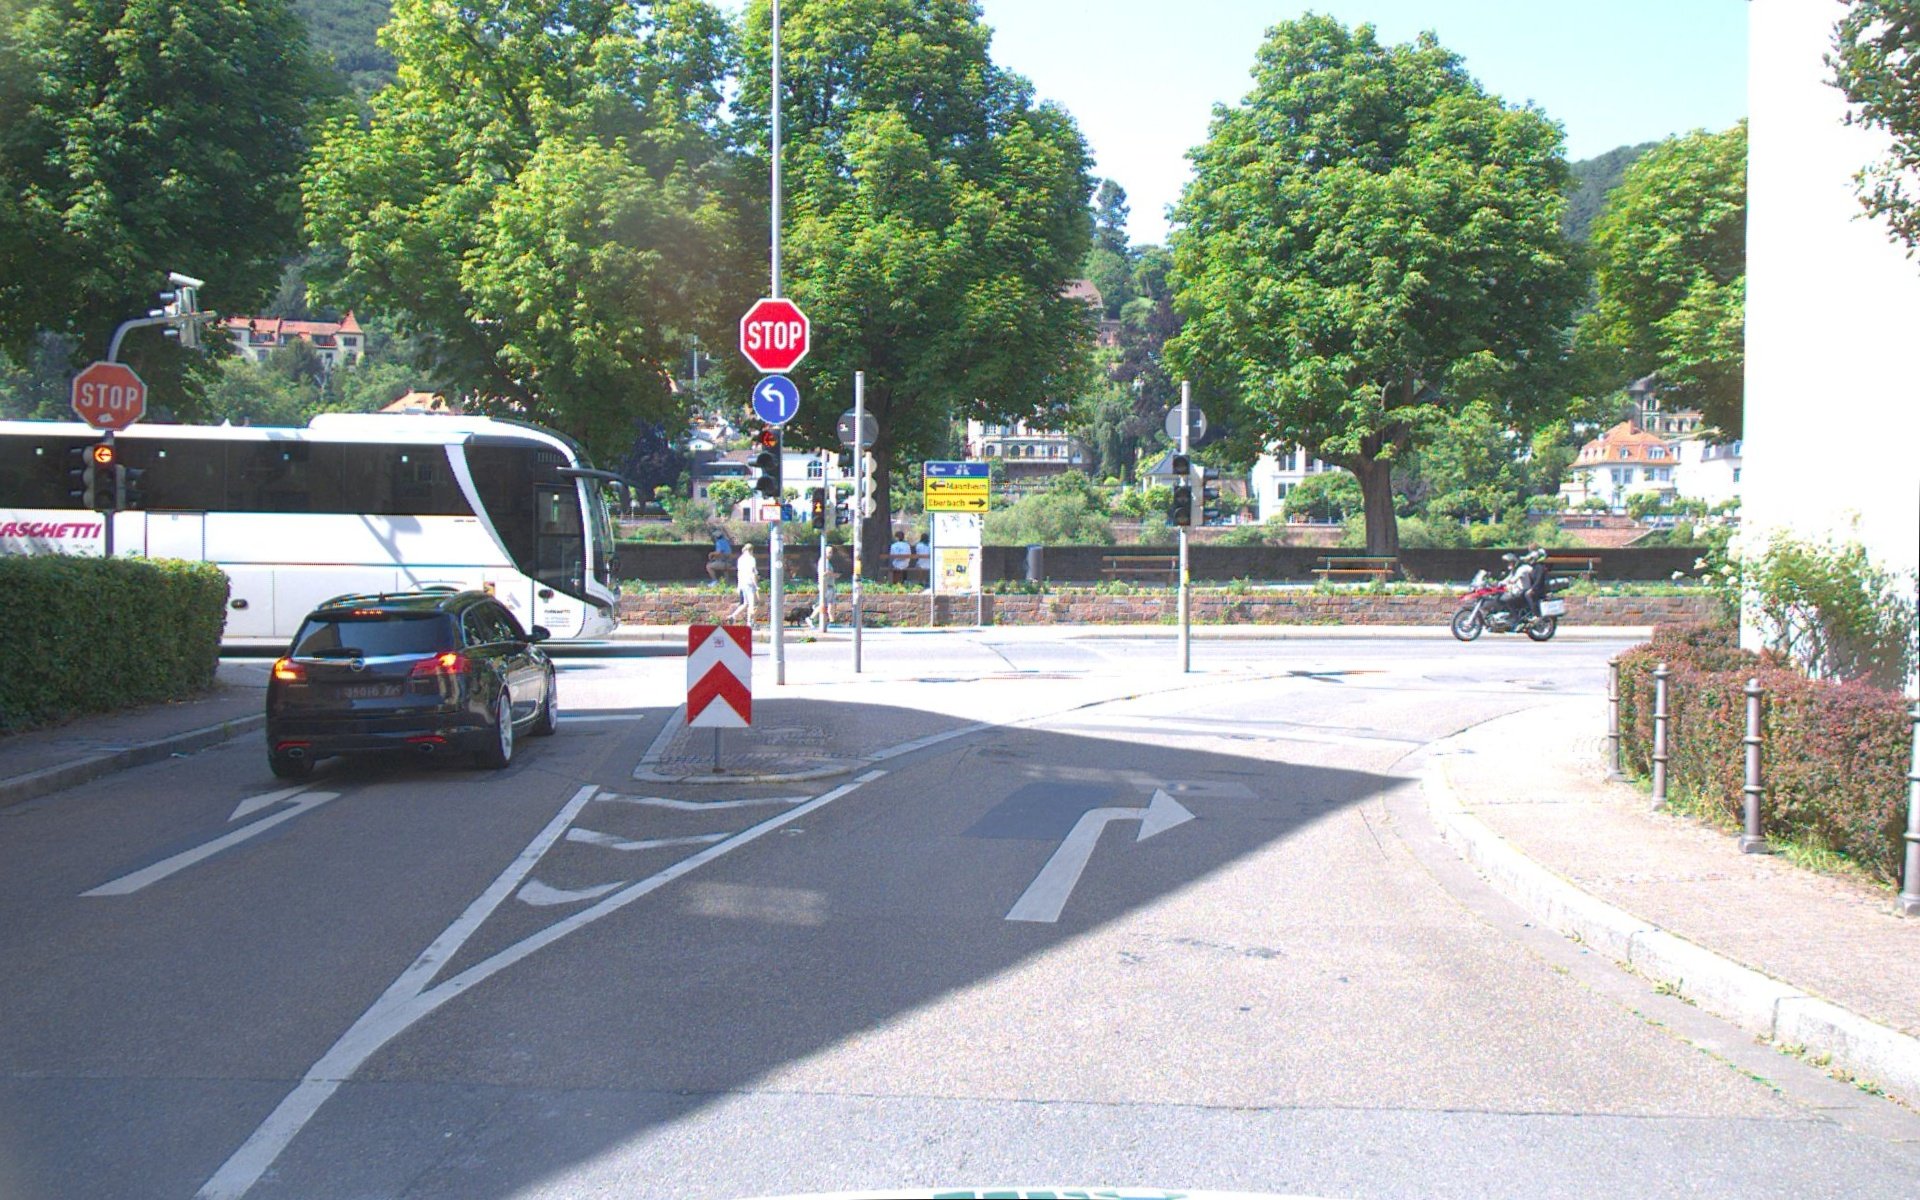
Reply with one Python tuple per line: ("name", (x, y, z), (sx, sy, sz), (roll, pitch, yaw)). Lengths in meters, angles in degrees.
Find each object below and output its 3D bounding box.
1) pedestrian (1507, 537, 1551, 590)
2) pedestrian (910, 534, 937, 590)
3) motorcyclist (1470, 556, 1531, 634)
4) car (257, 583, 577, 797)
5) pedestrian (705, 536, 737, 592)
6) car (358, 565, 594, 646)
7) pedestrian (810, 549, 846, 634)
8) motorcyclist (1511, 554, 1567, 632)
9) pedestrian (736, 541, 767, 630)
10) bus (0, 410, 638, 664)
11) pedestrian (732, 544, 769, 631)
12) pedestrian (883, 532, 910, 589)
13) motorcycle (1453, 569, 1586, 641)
("pedestrian", (14.039, -0.901, 40.816), (0.782, 1.232, 0.715), (2, -2, -2))
("pedestrian", (-0.866, -0.889, 39.358), (0.542, 1.250, 0.985), (2, -2, -5))
("motorcyclist", (10.682, -0.107, 32.696), (0.855, 1.520, 0.817), (-1, 1, -8))
("car", (-4.588, 0.646, 14.700), (1.681, 1.487, 4.719), (-2, 1, -6))
("pedestrian", (-5.564, -0.841, 38.511), (0.631, 1.250, 0.412), (3, -2, -15))
("car", (-8.956, 0.087, 30.891), (3.909, 1.443, 1.873), (0, 1, -5))
("pedestrian", (-2.869, -0.186, 35.803), (0.676, 1.800, 0.715), (-1, 0, -12))
("motorcyclist", (11.471, -0.149, 32.792), (0.756, 1.519, 0.817), (0, 1, -8))
("pedestrian", (-4.363, -0.305, 34.613), (0.566, 1.833, 0.705), (0, 0, -3))
("bus", (-11.435, -0.967, 27.011), (11.909, 3.854, 2.903), (0, 1, -7))
("pedestrian", (-4.506, -0.264, 35.543), (0.707, 1.833, 0.634), (-1, 0, -3))
("pedestrian", (-1.504, -0.934, 39.138), (0.542, 1.302, 0.703), (2, -2, -5))
("motorcycle", (11.061, 0.082, 32.749), (2.417, 1.400, 0.762), (0, 1, -8))
